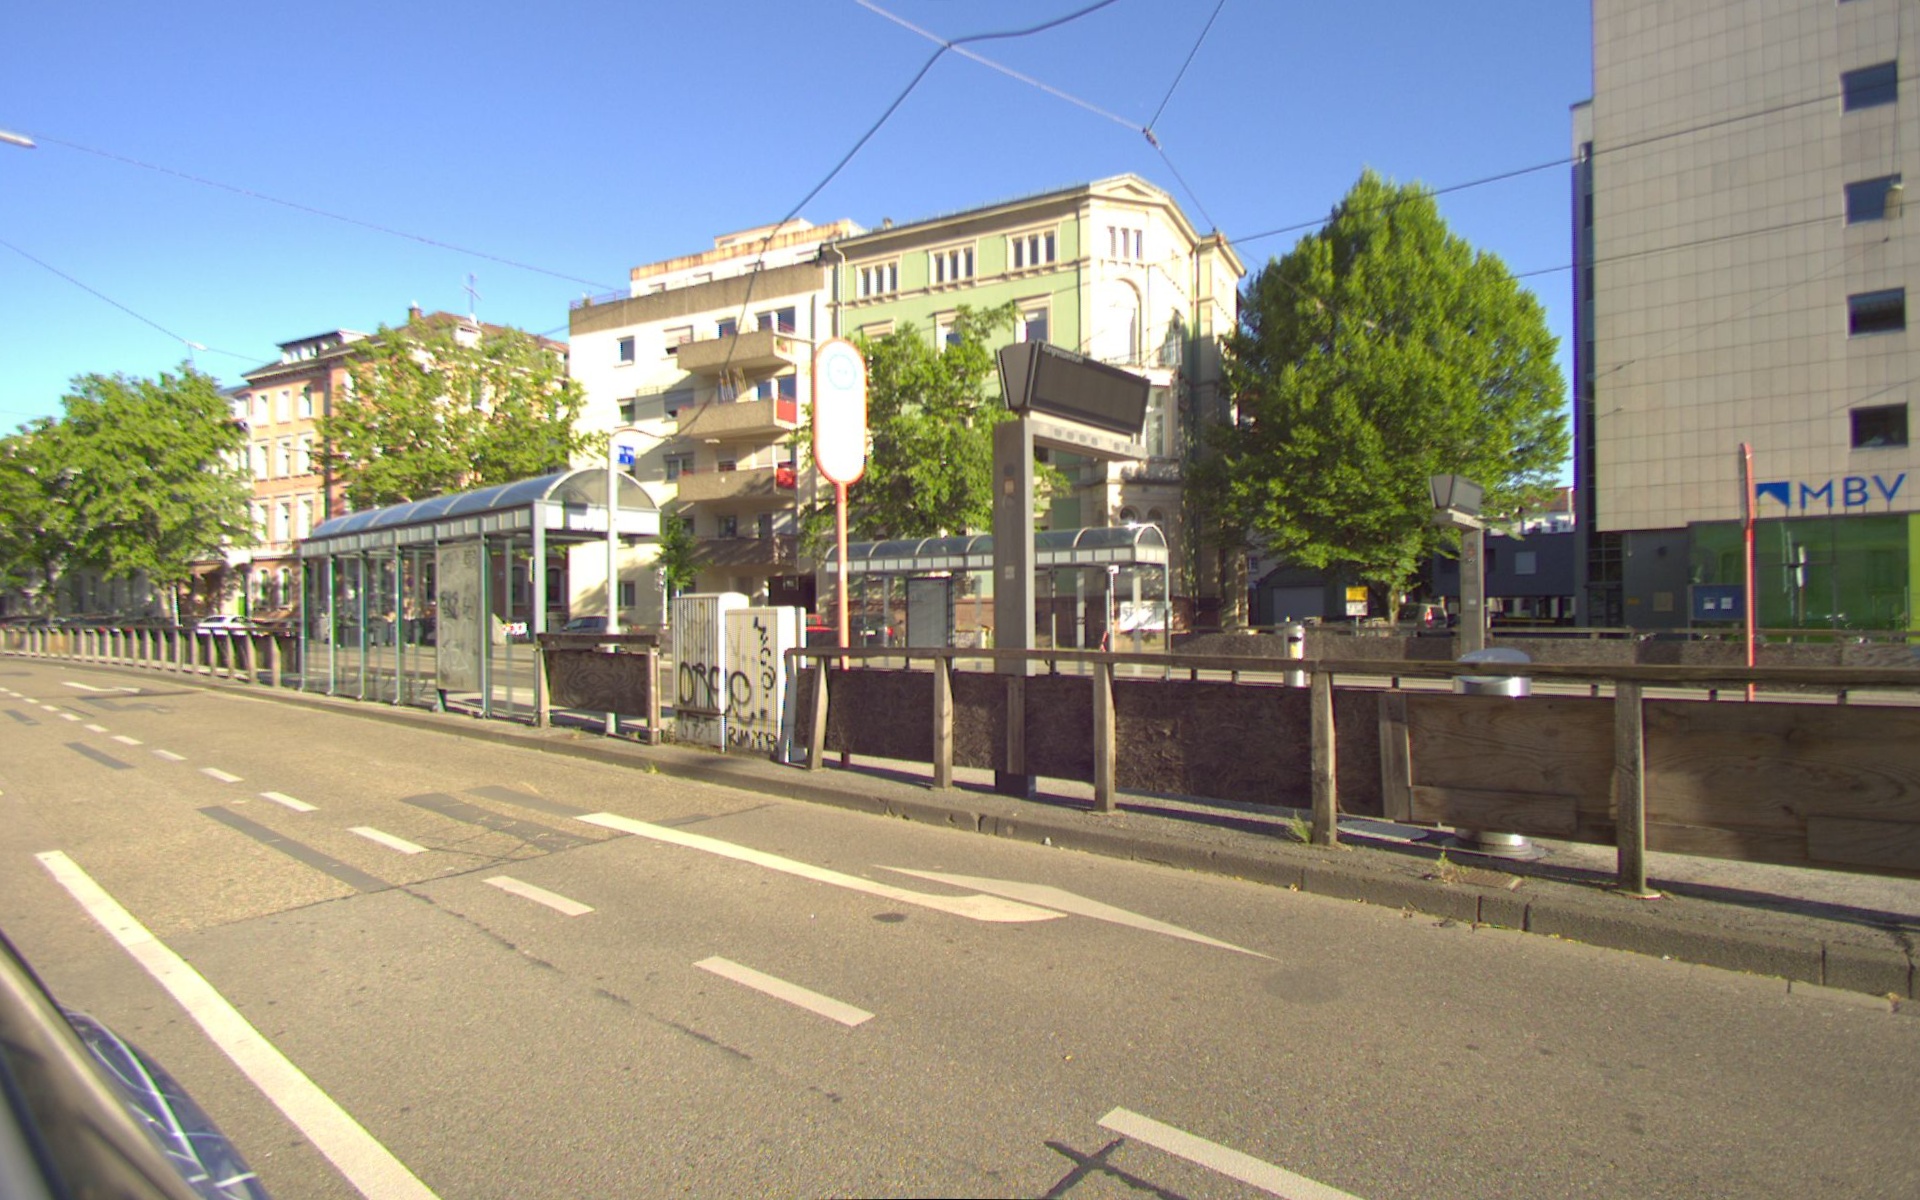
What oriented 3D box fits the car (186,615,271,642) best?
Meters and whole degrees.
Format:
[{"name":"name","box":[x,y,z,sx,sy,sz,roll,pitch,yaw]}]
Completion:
[{"name":"car","box":[-39.109,1.497,54.208,1.565,1.360,3.631,0,-1,11]}]

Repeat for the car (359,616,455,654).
[{"name":"car","box":[-23.879,1.498,43.658,3.987,1.541,1.978,-1,-2,32]}]

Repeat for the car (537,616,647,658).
[{"name":"car","box":[-14.103,1.383,38.728,3.987,1.541,1.978,-1,-2,32]}]

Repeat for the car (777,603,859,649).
[{"name":"car","box":[-6.401,1.171,46.159,1.791,2.029,3.963,-1,-1,27]}]
